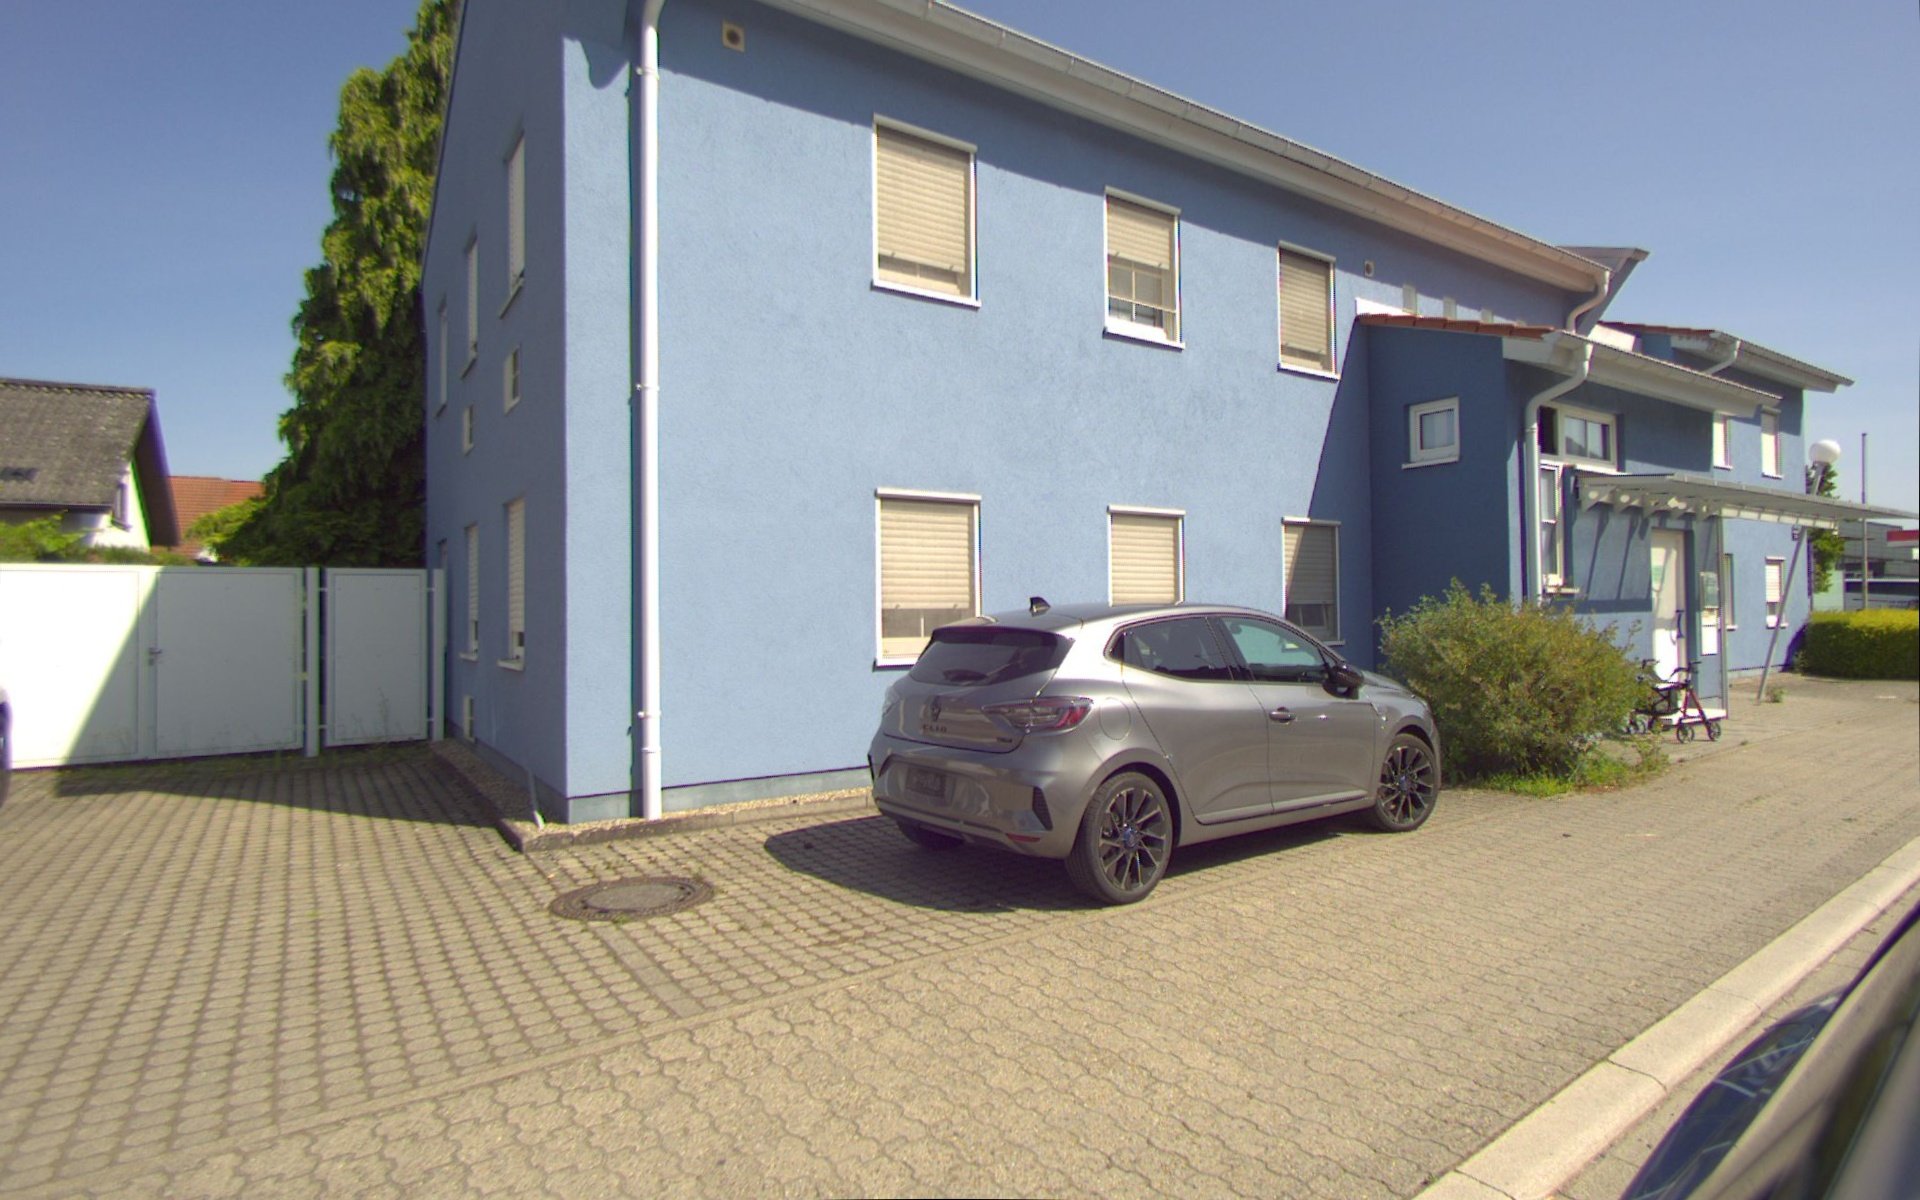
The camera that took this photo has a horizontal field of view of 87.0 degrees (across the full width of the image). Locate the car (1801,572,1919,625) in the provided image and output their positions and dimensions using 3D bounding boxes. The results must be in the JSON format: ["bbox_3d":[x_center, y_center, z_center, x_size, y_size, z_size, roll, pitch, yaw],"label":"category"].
[{"bbox_3d":[37.287,-0.066,40.681,5.260,2.039,2.200,0,0,40],"label":"car"}]

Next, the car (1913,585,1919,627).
[{"bbox_3d":[37.365,0.228,36.265,4.278,1.570,1.964,0,0,29],"label":"car"}]

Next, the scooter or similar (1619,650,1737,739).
[{"bbox_3d":[7.477,0.964,10.548,0.811,0.825,0.731,-1,0,-31],"label":"scooter or similar"}]

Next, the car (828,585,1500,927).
[{"bbox_3d":[1.407,0.665,6.193,4.067,1.438,1.694,-1,-1,-36],"label":"car"}]

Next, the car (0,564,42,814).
[{"bbox_3d":[-6.704,0.603,5.537,1.777,1.678,4.190,-1,0,-32],"label":"car"}]
